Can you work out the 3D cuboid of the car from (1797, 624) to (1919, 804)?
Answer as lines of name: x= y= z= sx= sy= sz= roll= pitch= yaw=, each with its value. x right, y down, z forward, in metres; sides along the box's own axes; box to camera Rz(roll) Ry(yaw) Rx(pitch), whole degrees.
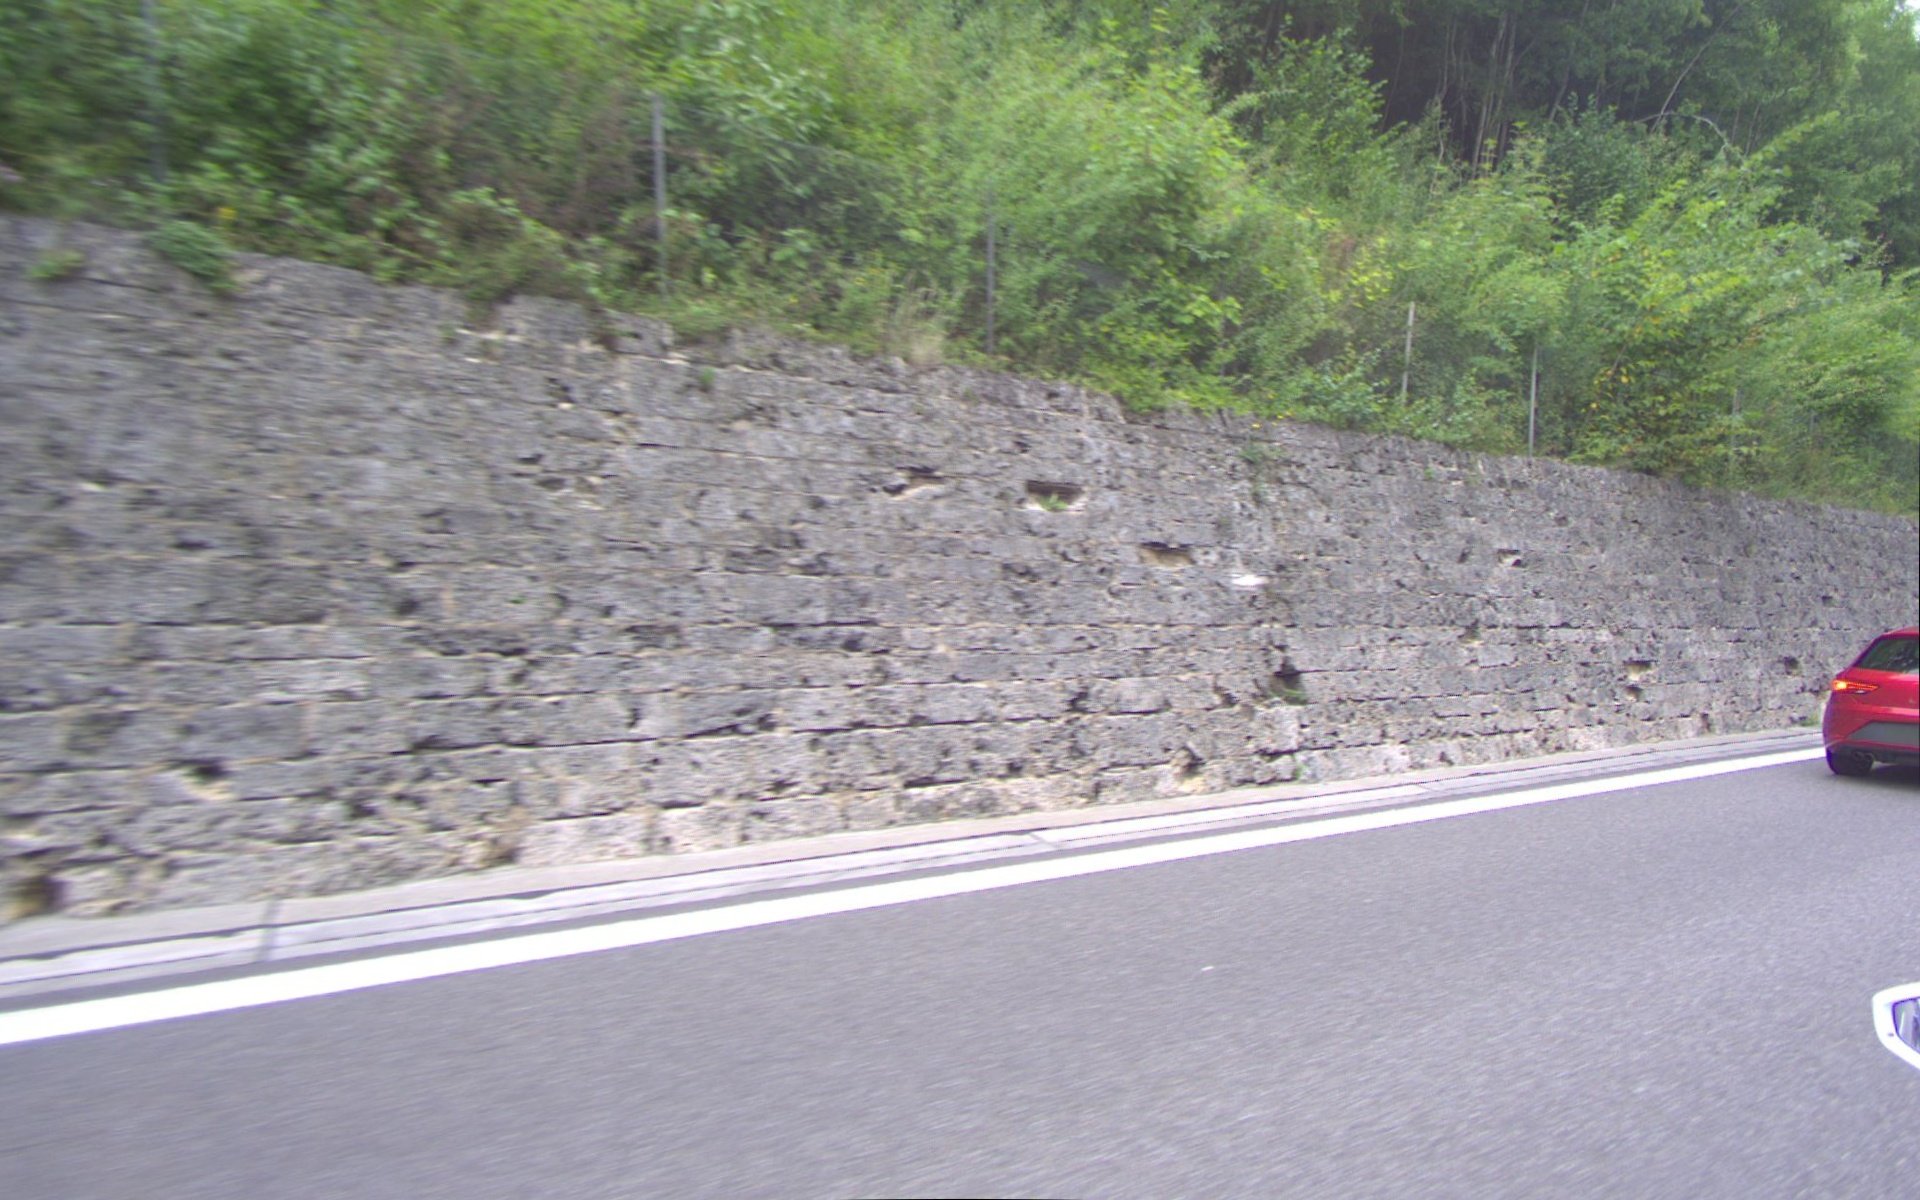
car: x=9.893 y=1.025 z=9.491 sx=4.362 sy=1.479 sz=1.757 roll=2 pitch=0 yaw=-32
